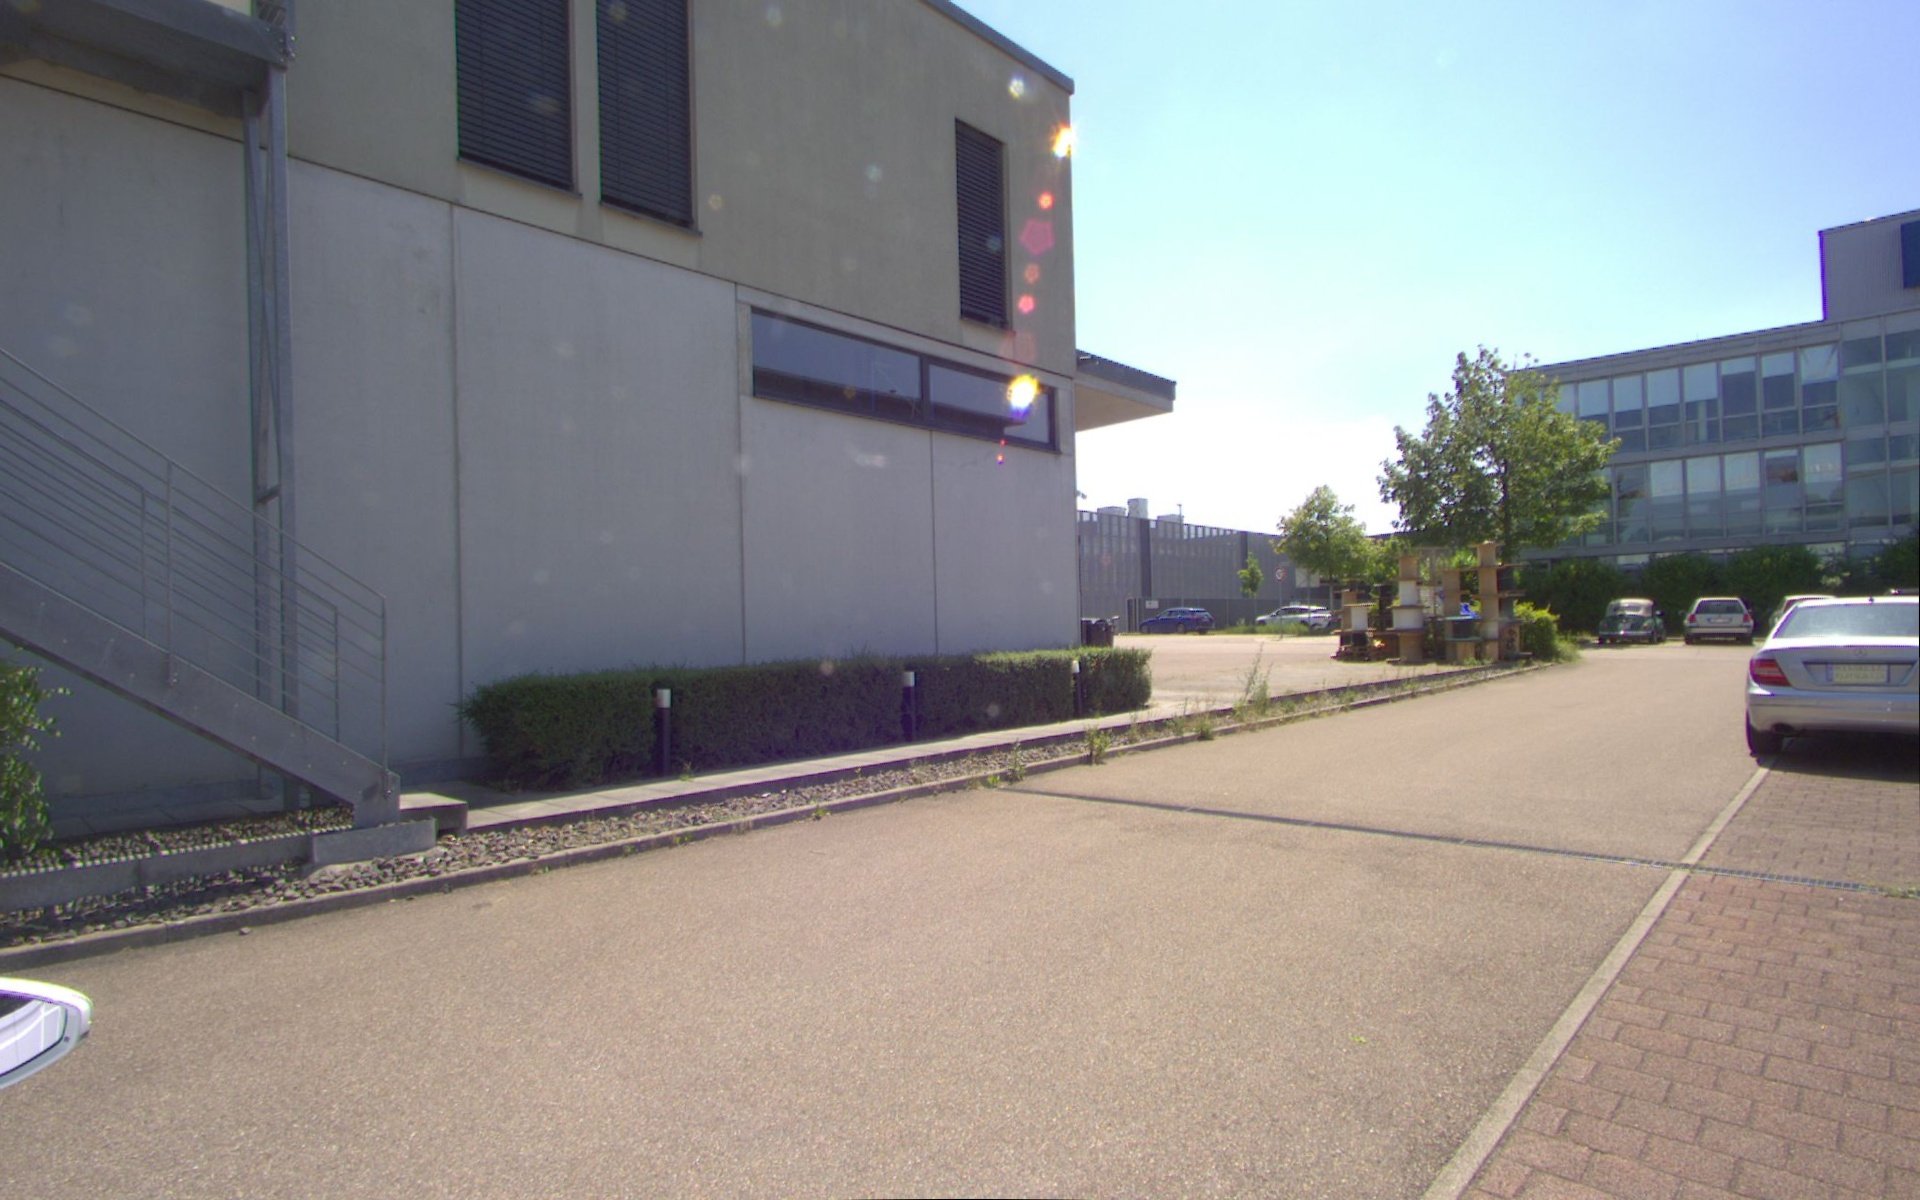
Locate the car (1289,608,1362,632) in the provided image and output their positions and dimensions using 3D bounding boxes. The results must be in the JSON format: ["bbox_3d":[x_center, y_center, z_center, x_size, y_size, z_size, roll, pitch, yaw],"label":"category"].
[{"bbox_3d":[22.547,1.268,61.971,1.727,1.433,4.042,1,-2,-33],"label":"car"}]

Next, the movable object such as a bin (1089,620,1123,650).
[{"bbox_3d":[4.882,1.179,33.498,0.809,0.993,0.803,-1,-1,43],"label":"movable object such as a bin"}]

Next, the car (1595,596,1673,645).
[{"bbox_3d":[22.559,0.698,33.459,1.729,1.538,3.969,-1,-2,40],"label":"car"}]

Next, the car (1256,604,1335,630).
[{"bbox_3d":[20.127,1.051,60.206,1.727,1.433,4.421,1,-2,-33],"label":"car"}]

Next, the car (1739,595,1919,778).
[{"bbox_3d":[8.693,0.722,9.459,1.712,1.455,3.683,-2,-2,44],"label":"car"}]

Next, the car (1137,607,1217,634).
[{"bbox_3d":[11.871,1.174,55.073,1.726,1.433,4.423,1,-2,-32],"label":"car"}]

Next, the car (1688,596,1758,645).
[{"bbox_3d":[24.395,0.673,32.108,1.653,1.459,3.975,-1,-2,36],"label":"car"}]

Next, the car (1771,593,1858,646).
[{"bbox_3d":[26.395,0.613,31.033,1.727,1.538,3.975,-1,-2,36],"label":"car"}]

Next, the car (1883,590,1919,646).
[{"bbox_3d":[27.936,0.527,29.020,1.731,1.538,3.965,-2,-2,43],"label":"car"}]
